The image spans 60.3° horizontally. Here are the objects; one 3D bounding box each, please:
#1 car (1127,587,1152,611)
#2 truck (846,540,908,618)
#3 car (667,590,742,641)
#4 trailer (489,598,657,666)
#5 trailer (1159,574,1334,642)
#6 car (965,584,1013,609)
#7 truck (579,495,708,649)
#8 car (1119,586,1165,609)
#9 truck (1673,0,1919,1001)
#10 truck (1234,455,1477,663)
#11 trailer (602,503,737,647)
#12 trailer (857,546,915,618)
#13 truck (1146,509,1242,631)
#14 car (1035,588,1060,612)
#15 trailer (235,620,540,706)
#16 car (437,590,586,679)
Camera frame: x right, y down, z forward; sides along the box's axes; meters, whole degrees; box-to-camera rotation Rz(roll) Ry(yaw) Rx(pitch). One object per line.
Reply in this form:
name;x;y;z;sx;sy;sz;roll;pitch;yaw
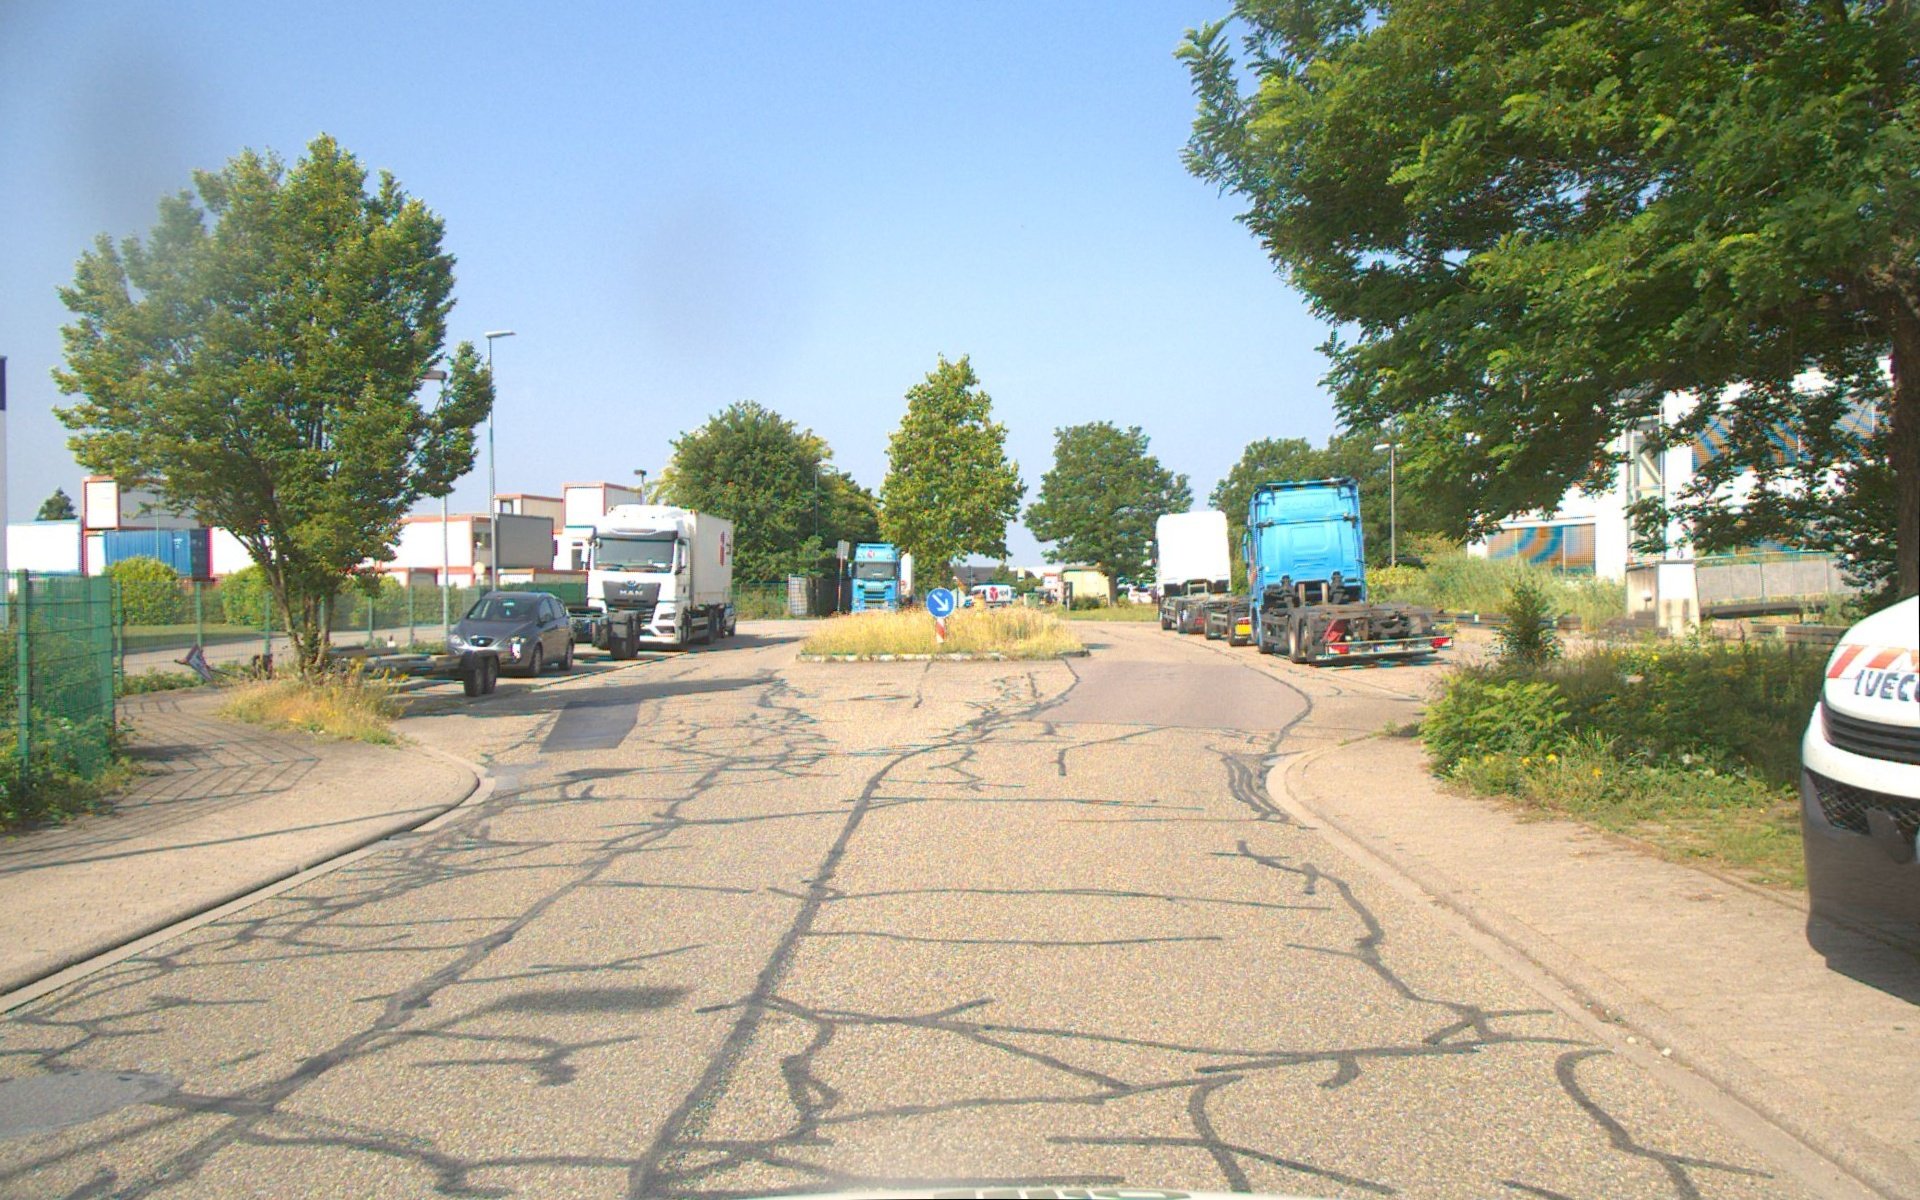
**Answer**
car;13.238;-0.037;121.933;1.681;1.646;4.002;1;-1;4
truck;-4.419;-1.042;90.116;2.767;3.893;9.672;1;-1;0
car;-8.758;0.490;56.984;1.953;1.669;4.587;1;0;-1
trailer;-9.010;0.703;39.041;2.625;1.479;5.078;0;0;2
trailer;8.246;0.190;50.067;2.689;1.601;16.173;-3;0;1
car;3.355;-0.385;188.624;5.740;2.782;1.969;2;-1;-43
truck;-8.658;-0.703;45.679;2.653;3.990;4.296;1;-1;0
car;11.442;-0.126;104.250;1.640;1.353;3.648;1;-1;-15
truck;7.171;-0.481;5.860;8.041;3.429;2.741;-1;-1;0
truck;8.052;-0.701;35.179;2.829;3.596;9.756;-4;-1;1
trailer;-8.653;-0.640;50.093;2.644;3.990;7.574;1;-1;0
trailer;-4.305;-0.940;98.915;2.773;3.910;12.035;1;-1;0
truck;8.311;-1.036;59.131;2.689;4.051;4.000;-3;0;1
car;6.870;0.021;130.413;1.755;1.780;3.999;1;-1;0
trailer;-8.733;0.912;26.139;2.495;0.941;6.709;3;0;0
car;-8.802;0.625;32.814;1.661;1.588;4.336;2;0;1
